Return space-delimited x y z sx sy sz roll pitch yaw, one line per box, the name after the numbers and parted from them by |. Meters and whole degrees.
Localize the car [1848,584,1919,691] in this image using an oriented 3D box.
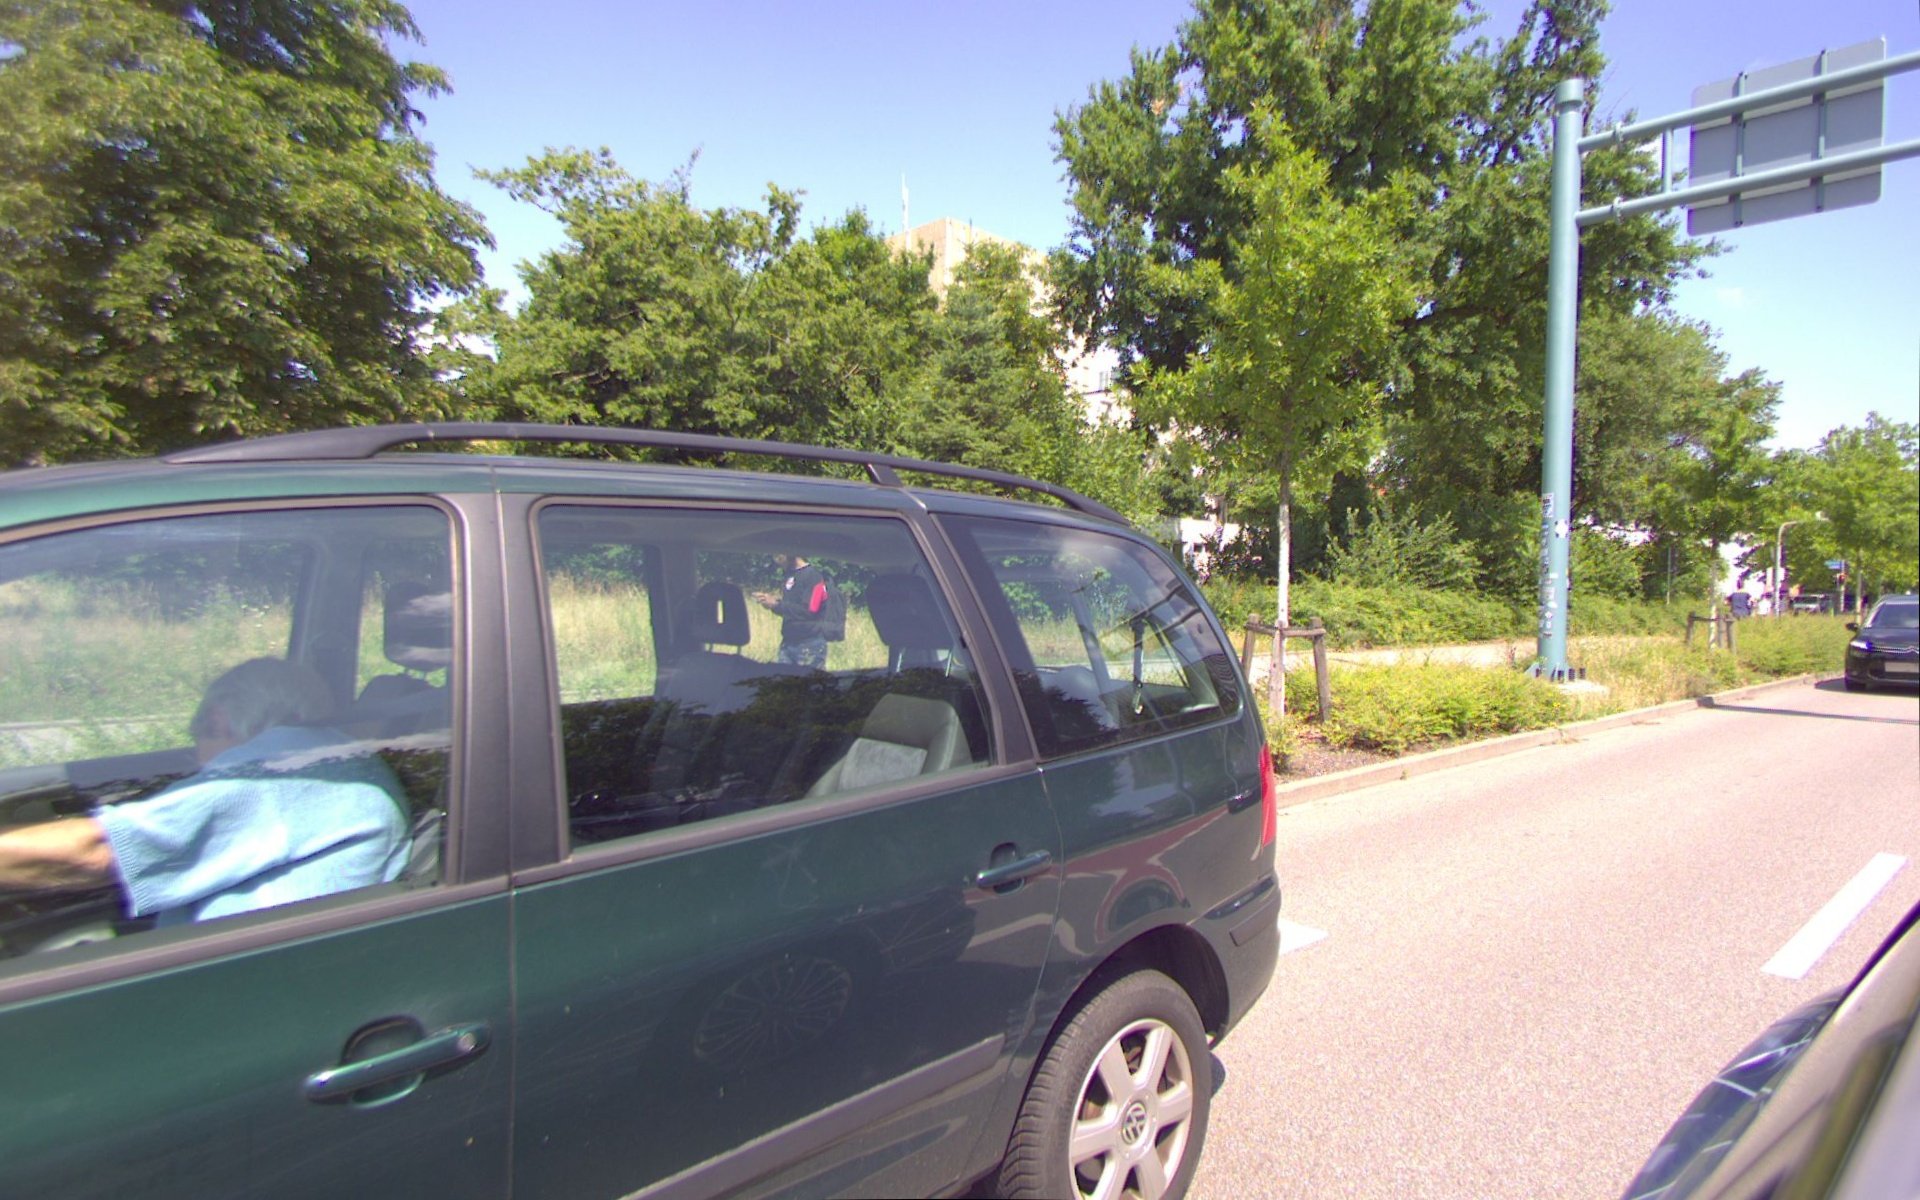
16.319 0.584 16.787 4.400 1.628 1.815 1 -1 -41 | car

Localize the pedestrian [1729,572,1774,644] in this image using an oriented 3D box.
20.038 0.201 25.628 0.869 1.787 0.640 1 1 -35 | pedestrian

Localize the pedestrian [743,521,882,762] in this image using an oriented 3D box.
-1.134 0.288 7.702 0.799 1.705 0.762 1 1 -29 | pedestrian

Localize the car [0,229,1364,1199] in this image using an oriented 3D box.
-1.132 0.523 1.955 4.315 1.737 1.804 0 -1 -41 | car

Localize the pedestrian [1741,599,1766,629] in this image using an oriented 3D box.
44.326 0.761 56.507 0.751 1.630 0.766 1 0 -16 | pedestrian

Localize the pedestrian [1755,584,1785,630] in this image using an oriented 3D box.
36.935 0.299 46.161 0.838 2.063 0.893 1 0 27 | pedestrian
